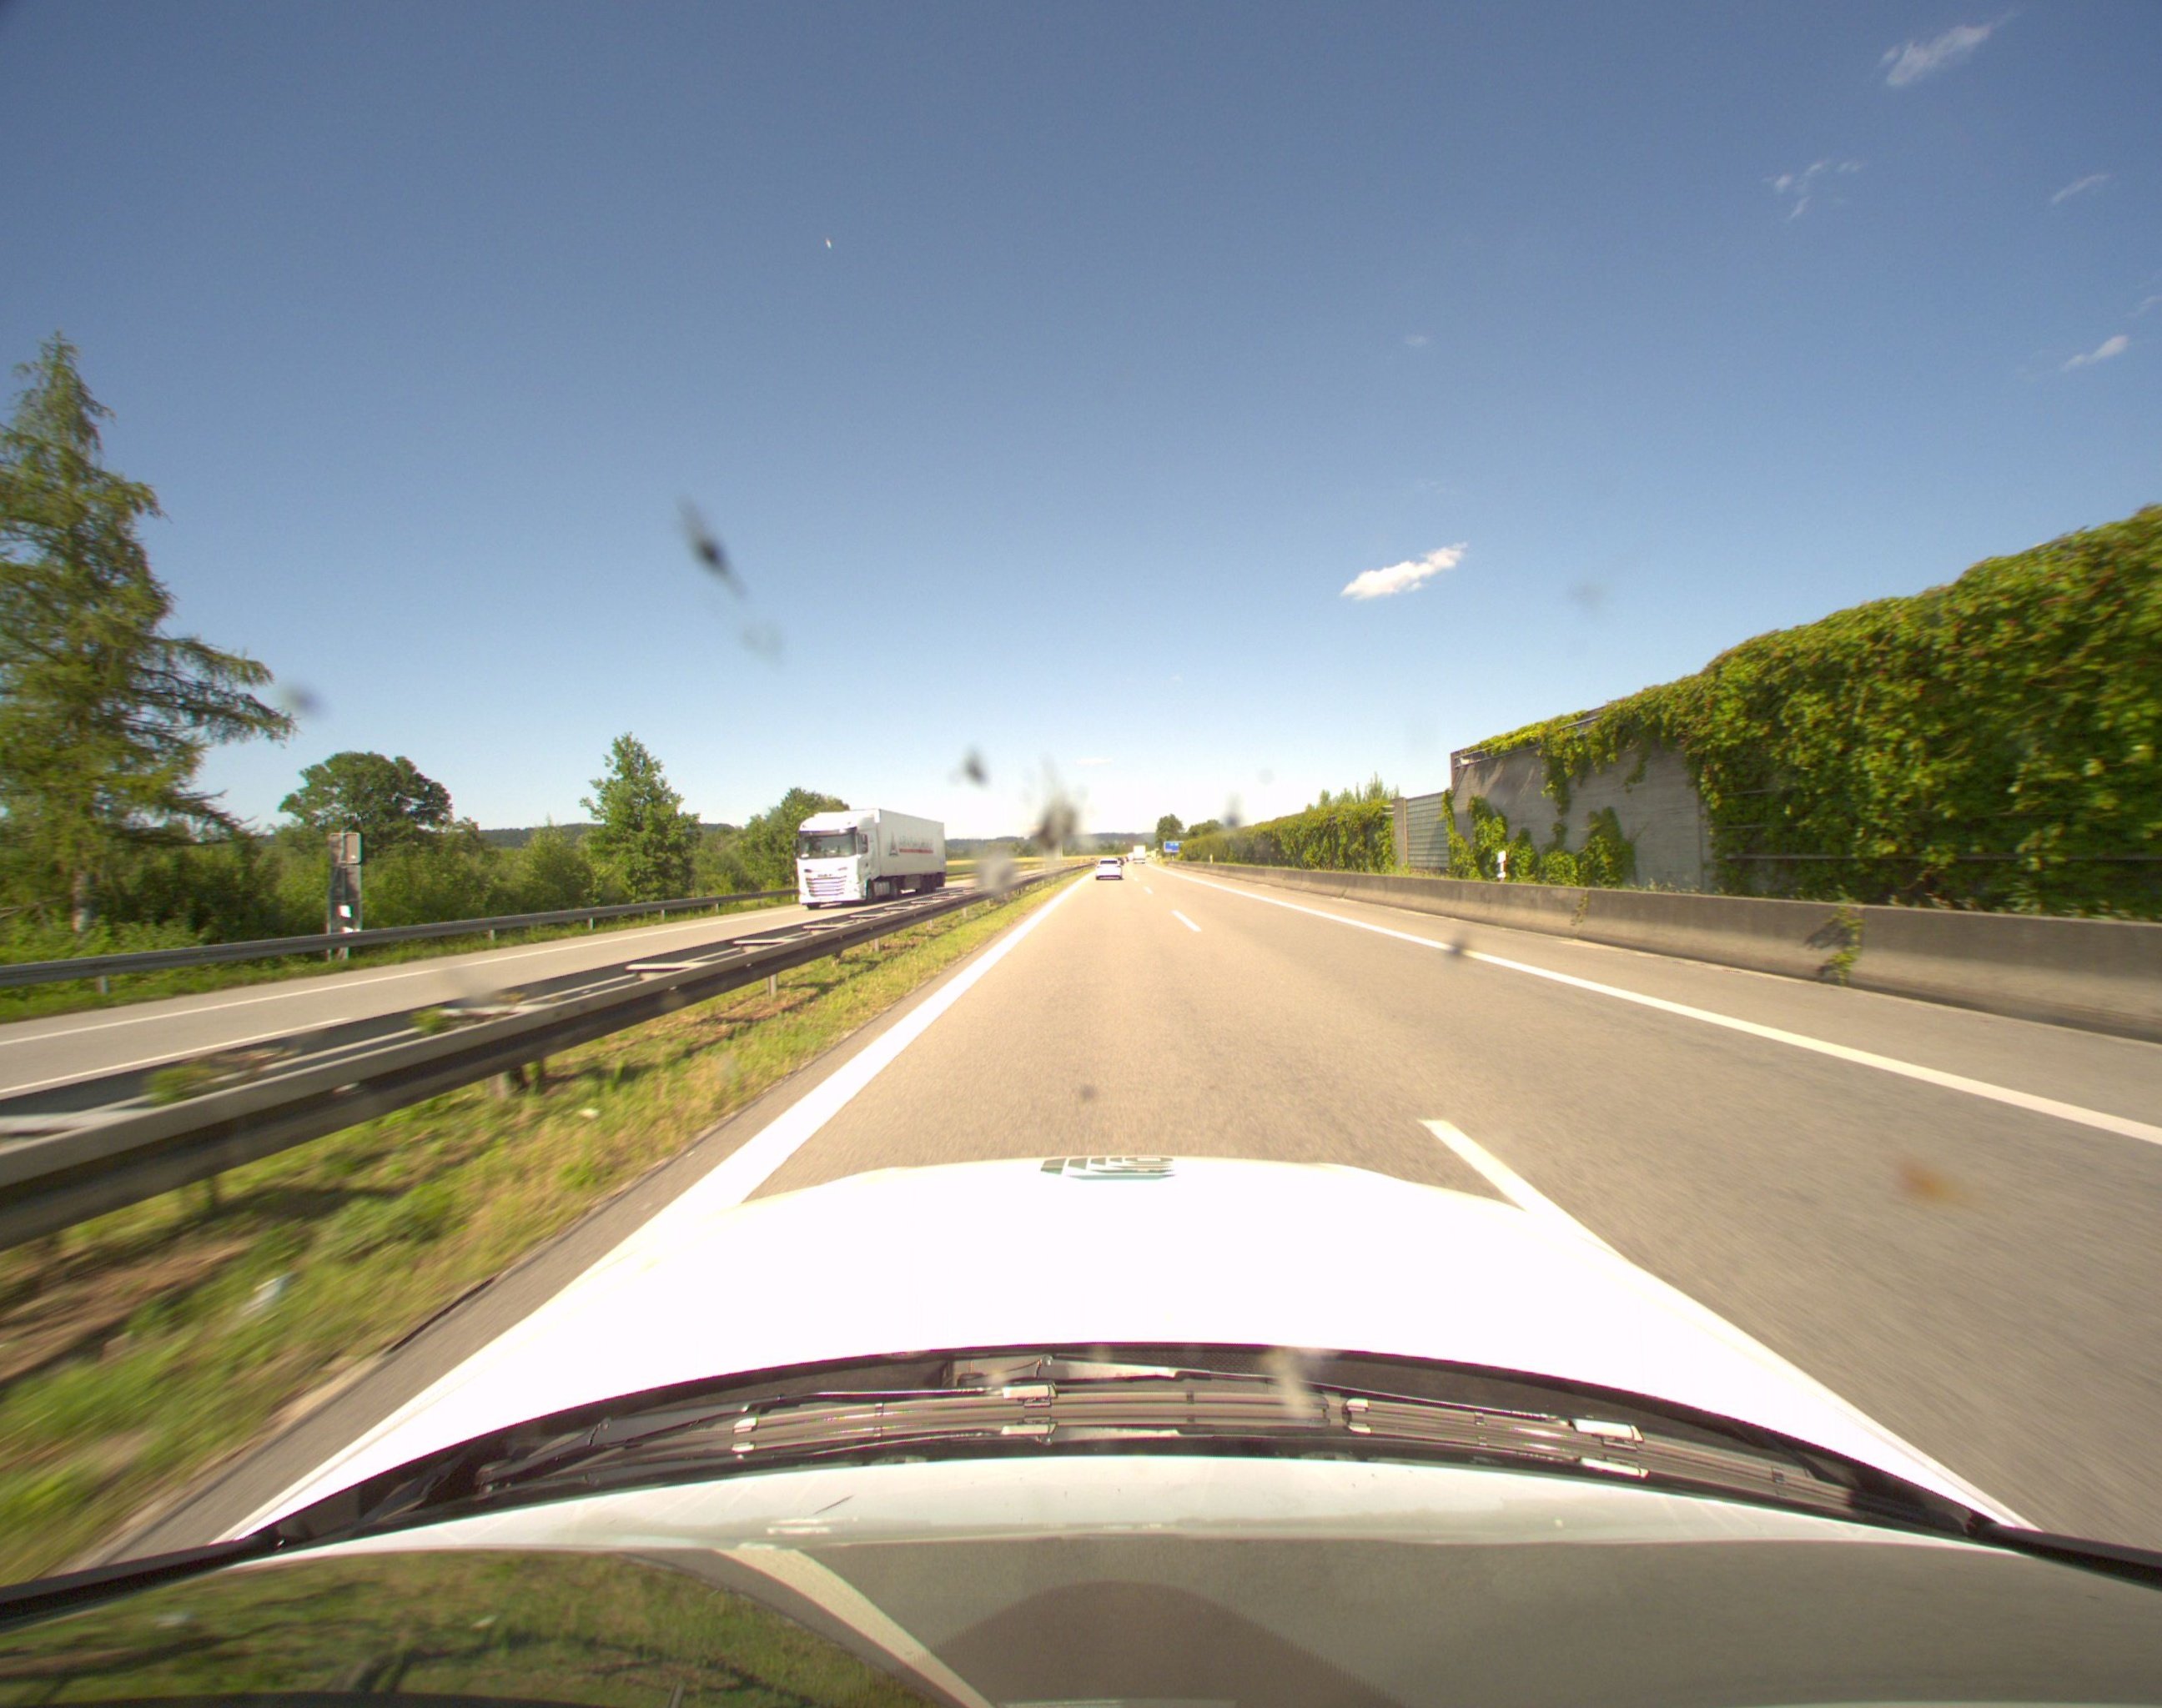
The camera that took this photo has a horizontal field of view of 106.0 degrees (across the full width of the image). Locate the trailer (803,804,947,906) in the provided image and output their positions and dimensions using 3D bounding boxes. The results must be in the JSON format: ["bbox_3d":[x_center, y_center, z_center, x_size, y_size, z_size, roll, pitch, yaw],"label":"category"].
[{"bbox_3d":[-9.822,0.023,41.220,3.139,4.124,13.448,-4,0,2],"label":"trailer"}]

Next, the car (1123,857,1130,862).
[{"bbox_3d":[13.203,1.645,234.043,1.762,1.421,4.371,-1,0,5],"label":"car"}]

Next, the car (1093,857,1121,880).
[{"bbox_3d":[1.813,0.974,55.790,1.833,1.421,5.258,-1,0,2],"label":"car"}]

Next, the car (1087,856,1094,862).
[{"bbox_3d":[3.093,1.524,258.665,1.985,1.661,4.779,-4,0,3],"label":"car"}]

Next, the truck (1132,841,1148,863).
[{"bbox_3d":[13.351,-0.520,184.168,3.138,4.612,8.916,-3,0,4],"label":"truck"}]

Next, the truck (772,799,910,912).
[{"bbox_3d":[-10.027,0.045,35.136,3.144,4.101,7.739,-4,0,2],"label":"truck"}]

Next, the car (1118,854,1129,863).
[{"bbox_3d":[7.371,0.825,141.268,1.763,1.421,4.502,-1,0,5],"label":"car"}]

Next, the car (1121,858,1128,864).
[{"bbox_3d":[11.597,1.914,215.565,1.763,1.421,4.371,-1,0,5],"label":"car"}]
